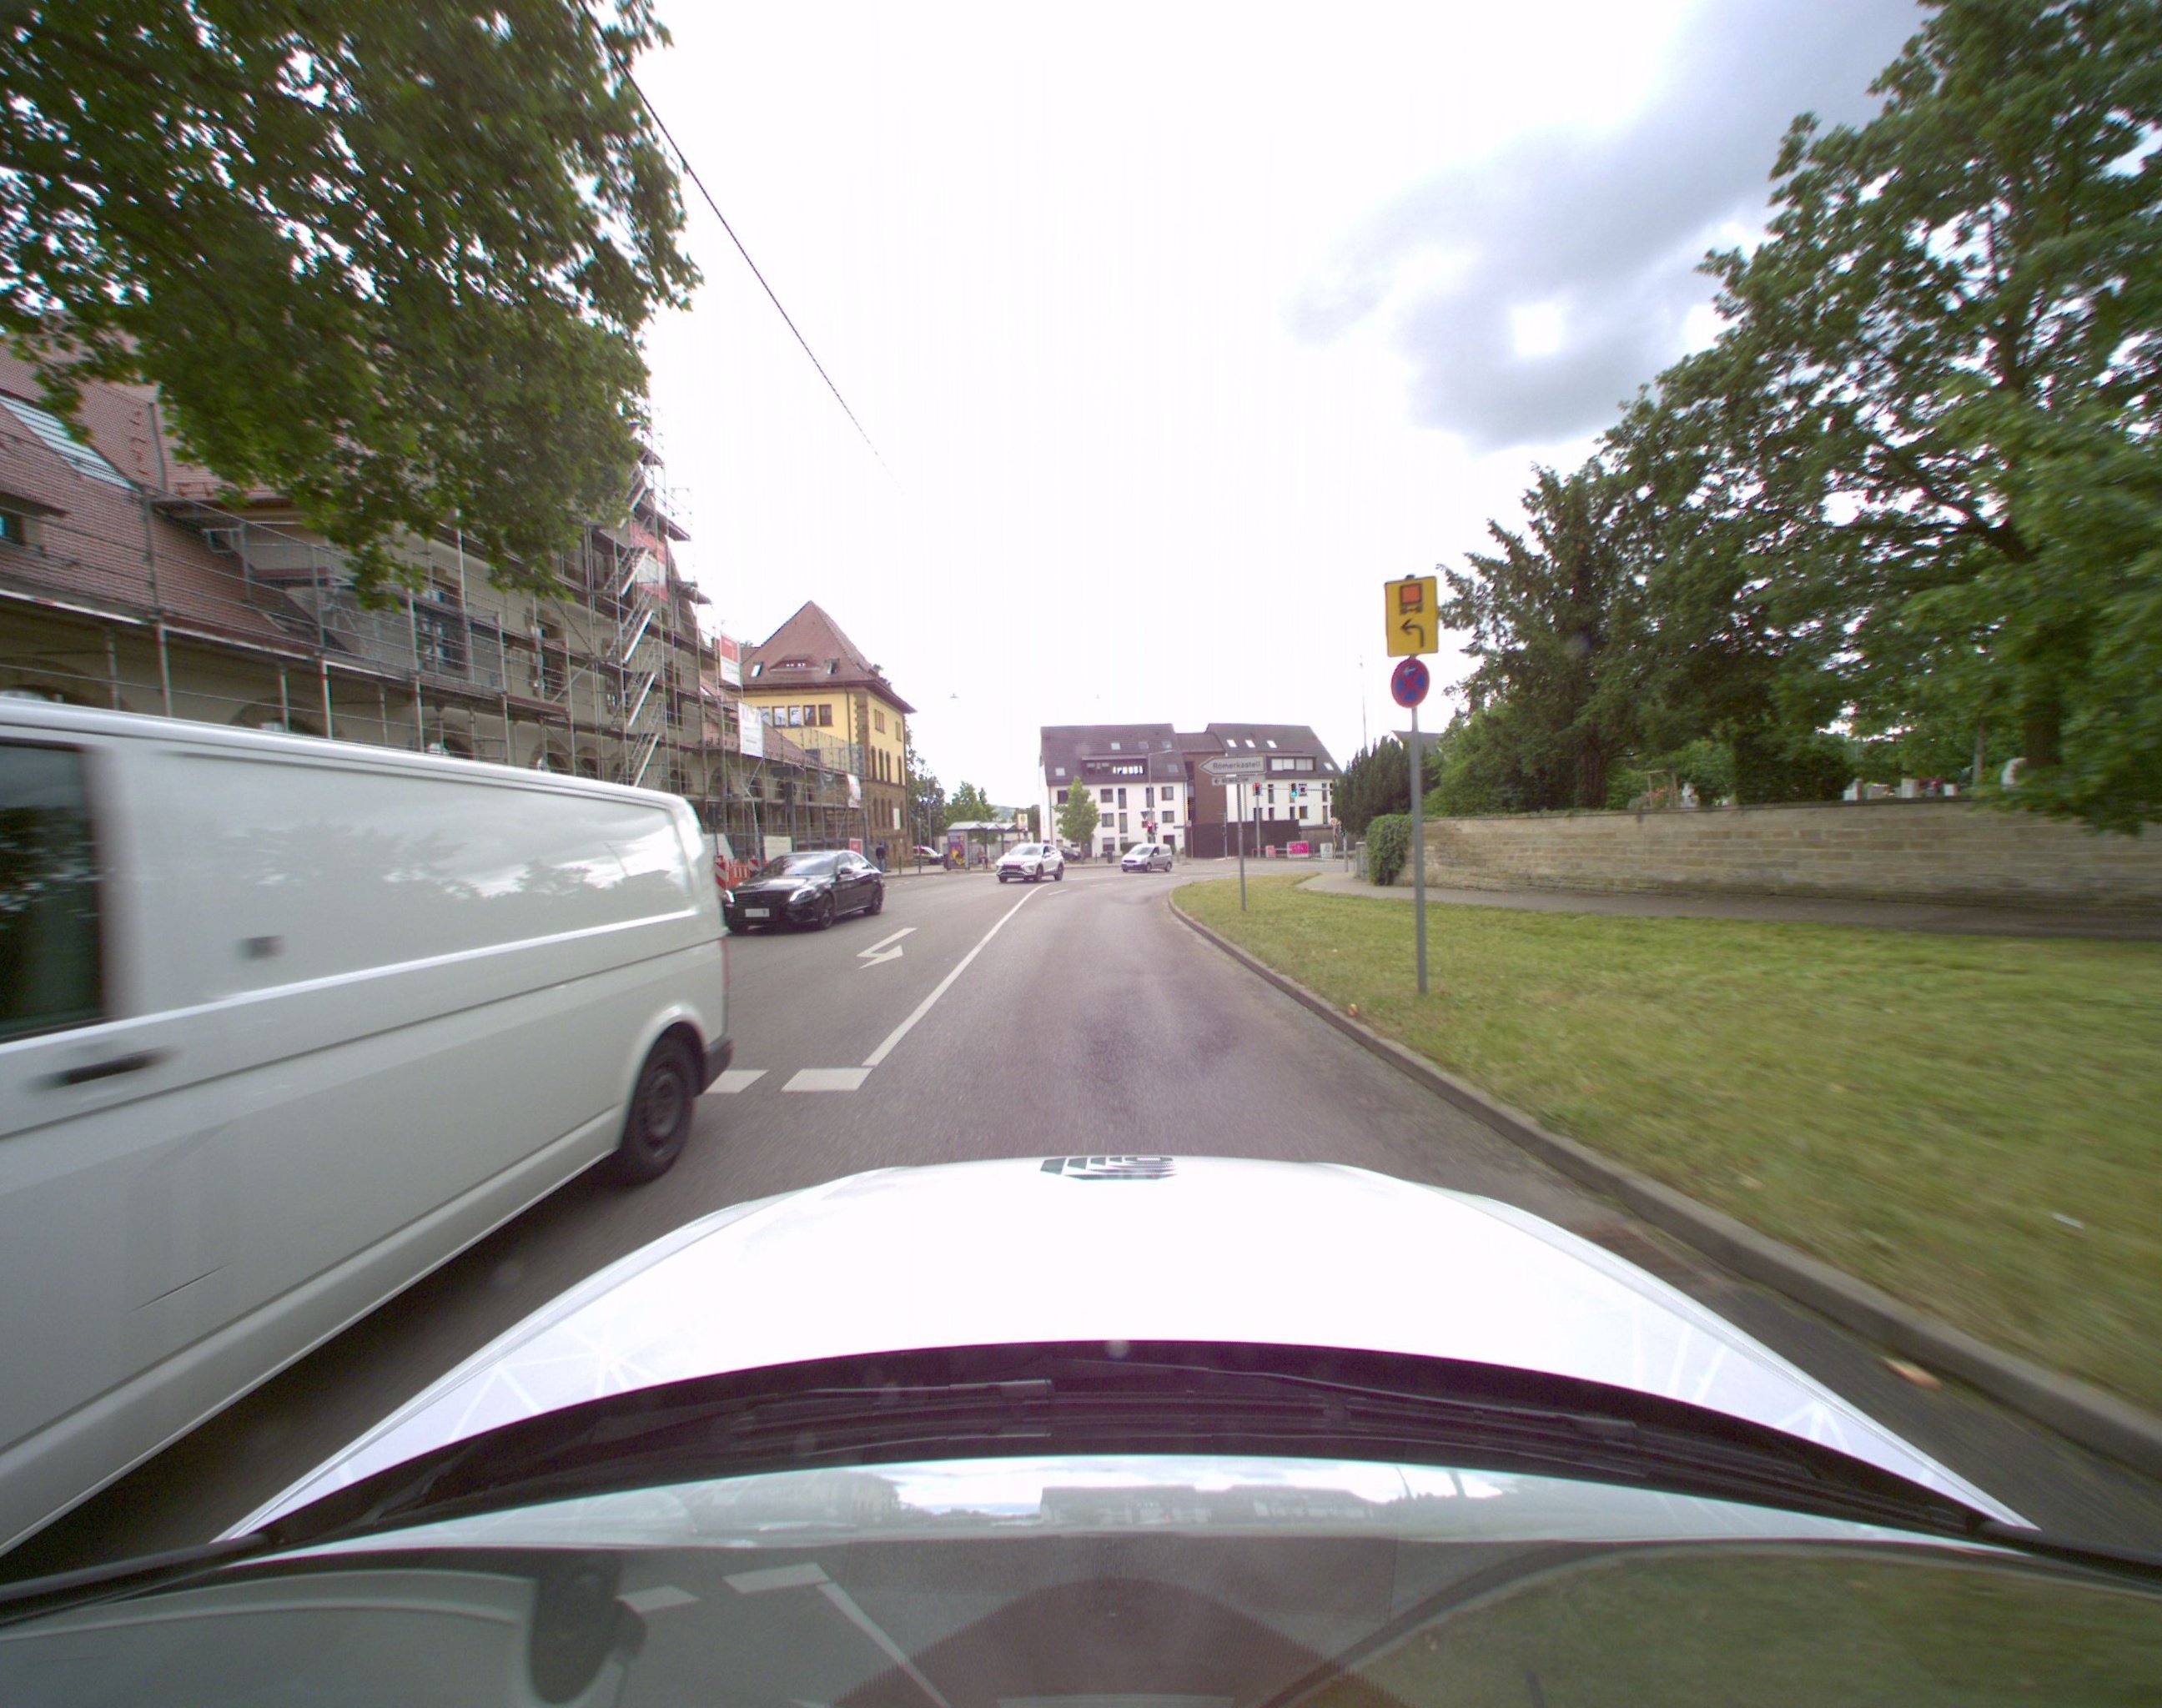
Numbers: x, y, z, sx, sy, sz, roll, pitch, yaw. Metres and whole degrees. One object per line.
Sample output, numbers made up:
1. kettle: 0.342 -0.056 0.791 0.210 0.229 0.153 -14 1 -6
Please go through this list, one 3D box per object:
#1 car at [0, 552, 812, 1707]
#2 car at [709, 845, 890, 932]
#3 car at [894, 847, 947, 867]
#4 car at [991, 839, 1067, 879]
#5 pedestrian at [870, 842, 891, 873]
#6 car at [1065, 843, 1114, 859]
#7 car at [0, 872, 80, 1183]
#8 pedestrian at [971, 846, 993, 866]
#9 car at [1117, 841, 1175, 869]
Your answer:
1. car: -2.812 0.507 2.405 2.198 1.931 5.240 -2 1 0
2. car: -5.584 0.589 16.919 1.794 1.472 4.853 -2 1 3
3. car: -16.637 0.320 84.435 5.055 2.013 2.001 0 0 1
4. car: -2.180 0.225 35.417 1.777 1.611 4.528 -2 -1 17
5. pedestrian: -11.212 0.171 45.610 0.919 1.720 0.799 0 0 2
6. car: 0.786 -0.277 77.687 4.218 1.513 2.013 0 0 31
7. car: -6.017 0.913 1.802 1.796 1.458 4.634 -4 1 -1
8. pedestrian: -5.766 0.115 47.501 0.923 1.192 0.911 0 0 27
9. car: 3.970 0.053 48.985 1.676 1.614 4.109 0 0 34
